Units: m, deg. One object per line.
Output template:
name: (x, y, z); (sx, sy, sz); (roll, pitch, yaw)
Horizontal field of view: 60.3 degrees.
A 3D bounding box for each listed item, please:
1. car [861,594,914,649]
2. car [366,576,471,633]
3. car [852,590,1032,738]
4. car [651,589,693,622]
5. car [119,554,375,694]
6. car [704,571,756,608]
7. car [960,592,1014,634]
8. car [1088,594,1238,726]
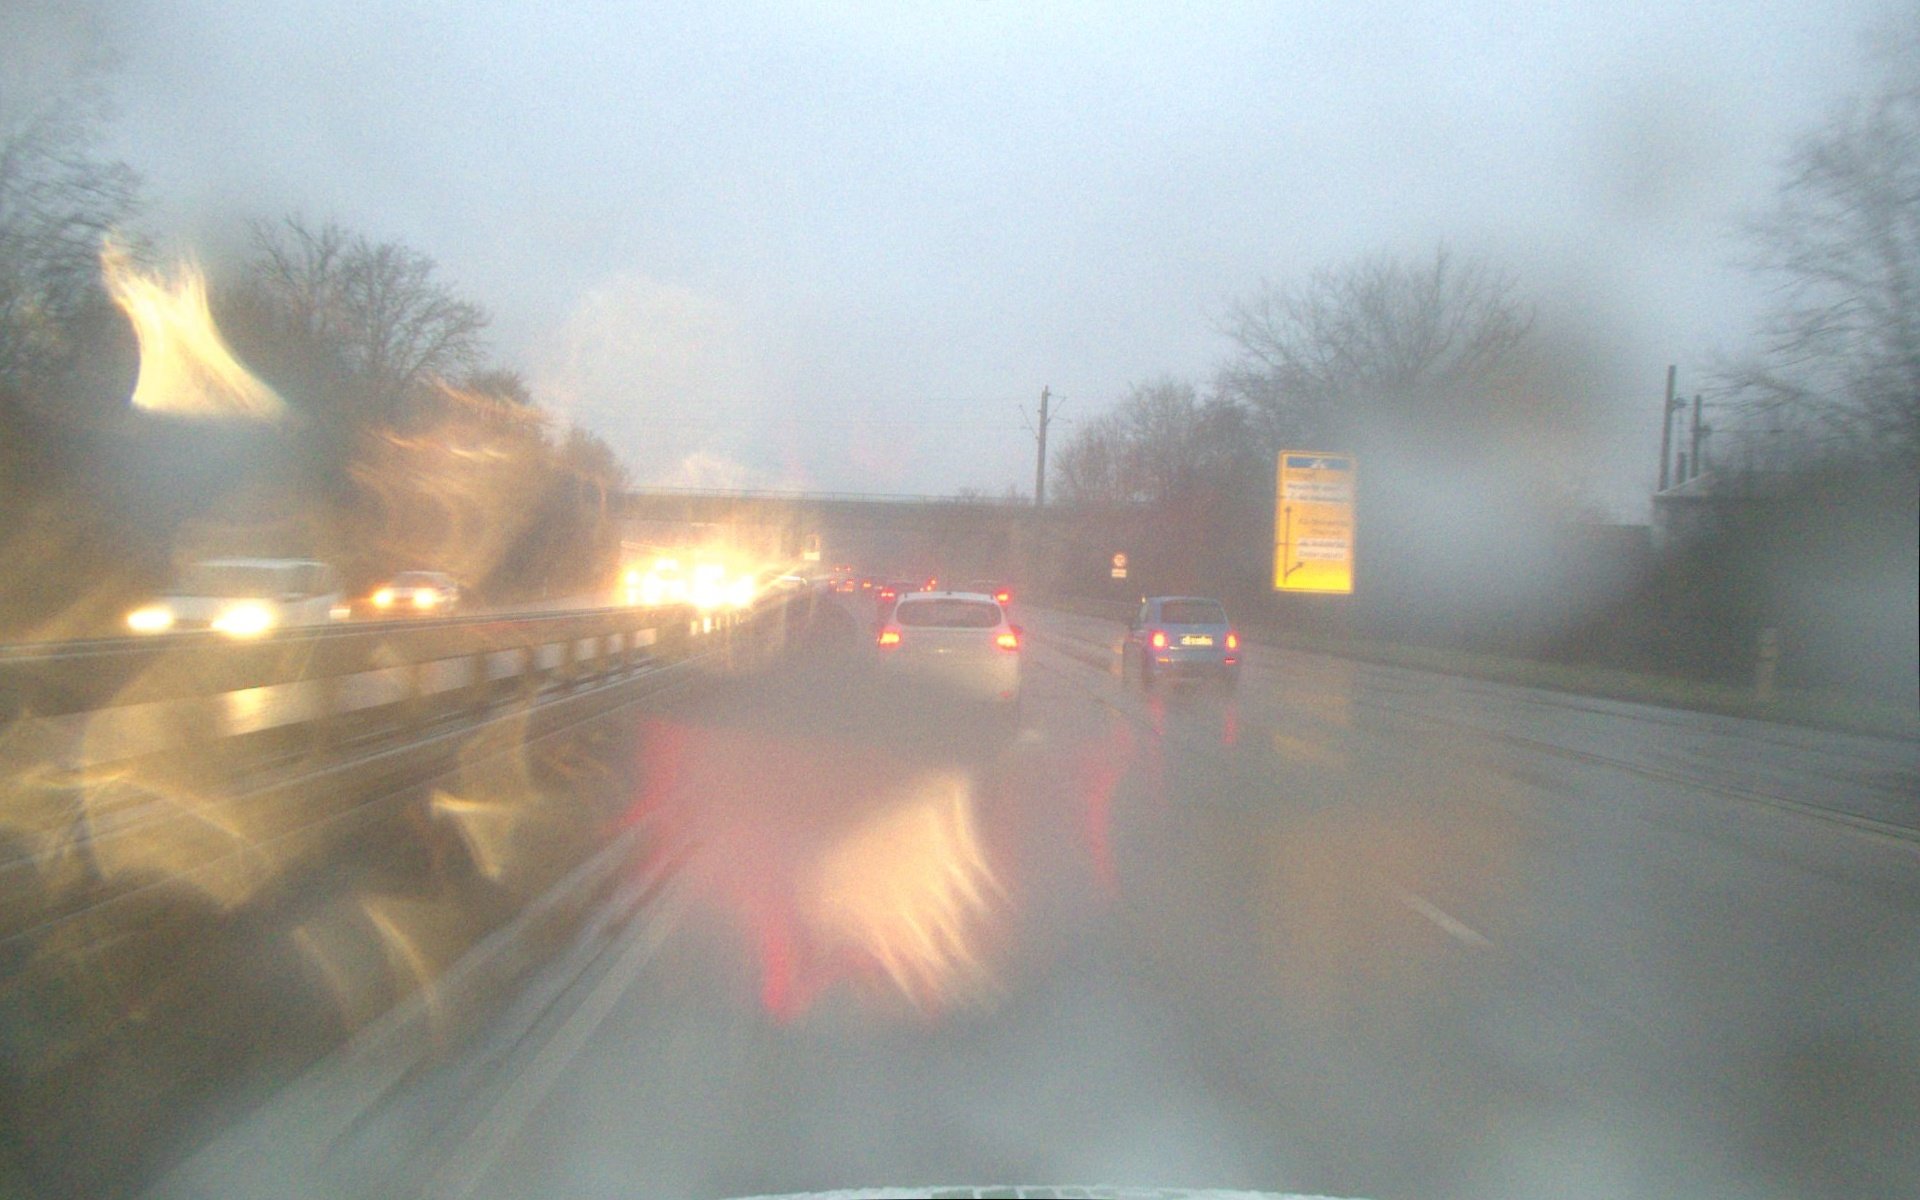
car: (-2.861, 0.818, 65.200); (1.954, 2.049, 3.997); (2, 0, -3)
car: (-16.170, 0.144, 49.622); (1.825, 1.566, 4.111); (2, 0, -2)
car: (-0.134, 0.737, 20.758); (1.983, 1.602, 4.001); (2, 0, 2)
car: (-15.916, 0.304, 91.524); (1.658, 1.695, 4.430); (2, 0, -3)
car: (-10.722, 0.341, 25.311); (1.845, 1.864, 4.786); (2, 0, -1)
car: (-9.663, -0.434, 69.801); (1.719, 1.466, 3.999); (2, 0, -2)
car: (1.091, 0.586, 69.406); (1.894, 1.573, 3.770); (-4, -1, -3)
car: (3.414, 0.963, 28.462); (1.894, 2.054, 3.771); (2, 0, -3)
